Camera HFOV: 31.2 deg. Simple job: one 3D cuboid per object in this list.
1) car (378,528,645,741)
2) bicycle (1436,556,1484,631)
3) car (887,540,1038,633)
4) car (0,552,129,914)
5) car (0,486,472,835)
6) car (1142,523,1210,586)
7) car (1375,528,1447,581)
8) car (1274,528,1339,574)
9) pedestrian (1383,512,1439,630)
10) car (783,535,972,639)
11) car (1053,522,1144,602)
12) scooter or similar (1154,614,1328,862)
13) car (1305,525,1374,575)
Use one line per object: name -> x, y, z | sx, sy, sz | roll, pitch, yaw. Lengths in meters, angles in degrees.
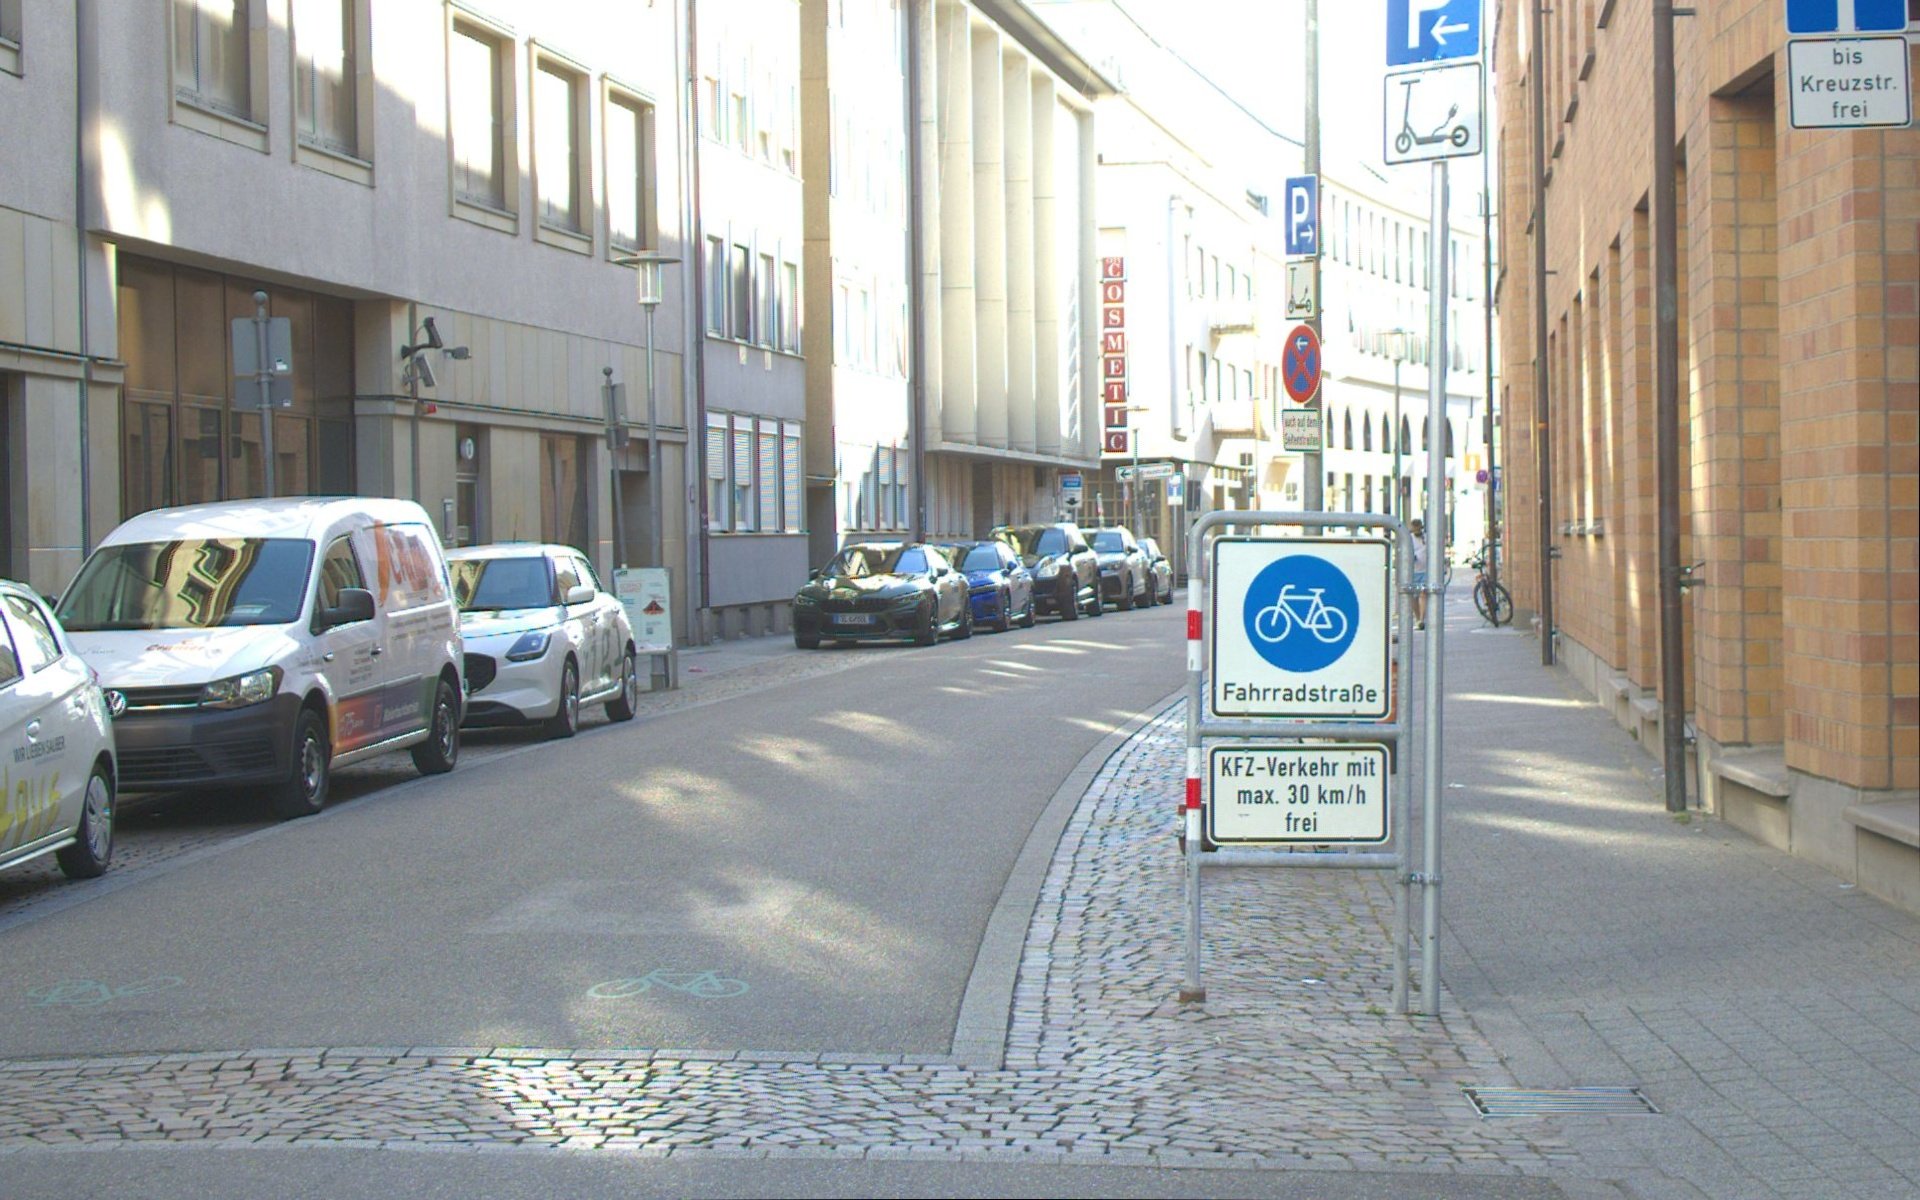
car -> -3.435, 0.218, 26.841 | 1.271, 1.501, 3.401 | -2, 1, 6
bicycle -> 6.952, -0.107, 47.865 | 0.511, 0.990, 2.647 | 0, 1, 5
car -> 0.076, -0.240, 53.641 | 1.725, 1.336, 3.999 | -1, 1, 9
car -> -4.886, 0.589, 14.782 | 1.670, 1.501, 3.794 | -2, 1, 0
car -> -4.297, 0.273, 20.648 | 1.670, 1.812, 4.551 | -2, 1, 5
car -> 5.315, -1.125, 84.415 | 1.339, 1.489, 3.346 | -1, 1, 9
car -> 12.298, -1.264, 93.580 | 1.690, 1.365, 3.616 | -1, 1, 11
car -> 10.975, -1.559, 108.769 | 1.690, 1.365, 3.616 | -1, 1, 11
pedestrian -> 6.679, -0.433, 50.943 | 0.664, 1.724, 0.840 | 2, 1, -1
car -> -1.089, -0.204, 47.446 | 1.882, 1.327, 4.099 | -1, 1, 9
car -> 2.720, -0.756, 66.884 | 1.339, 1.489, 3.509 | -1, 1, 9
scooter or similar -> 1.319, 0.644, 16.191 | 0.771, 1.132, 0.269 | 2, 0, 2
car -> 11.109, -1.472, 100.577 | 1.690, 1.365, 3.616 | -1, 1, 11
